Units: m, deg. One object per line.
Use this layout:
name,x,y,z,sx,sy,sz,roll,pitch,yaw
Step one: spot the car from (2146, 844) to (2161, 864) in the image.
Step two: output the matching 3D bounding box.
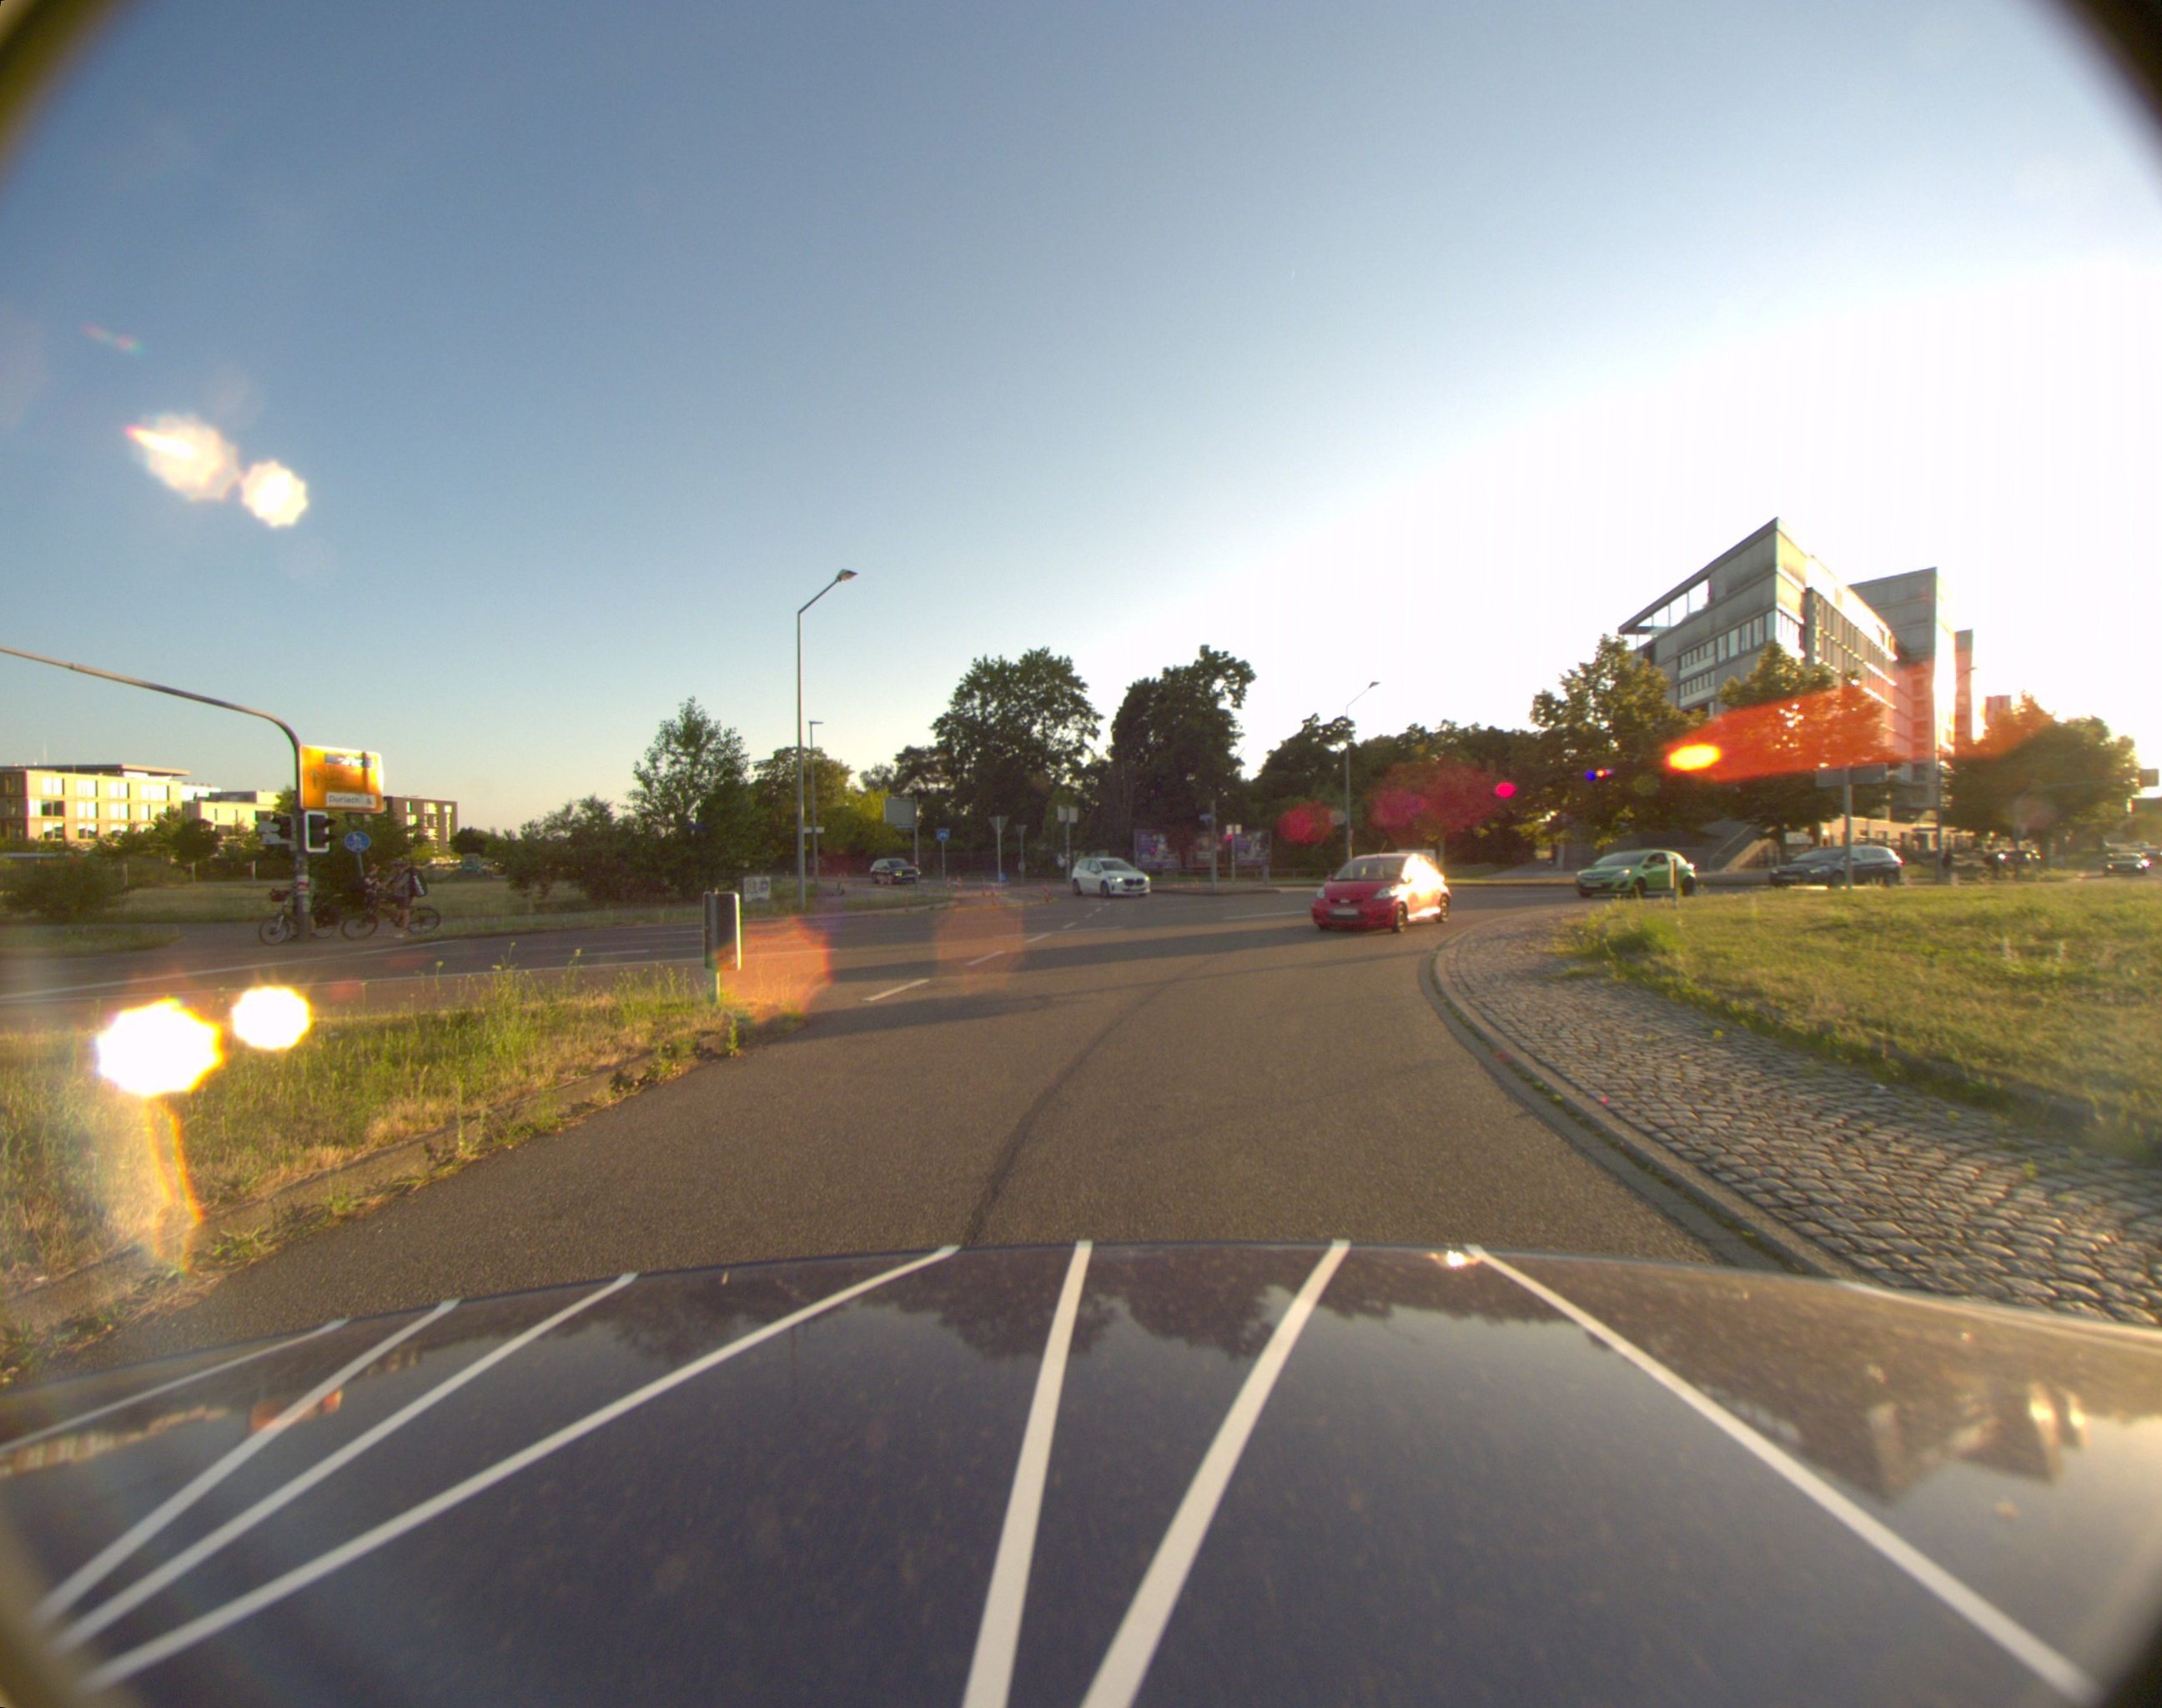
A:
car,99.844,0.004,69.869,5.316,1.801,1.995,0,-2,-37

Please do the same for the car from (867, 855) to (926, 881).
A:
car,-12.128,0.872,49.739,2.004,1.588,4.302,-1,1,-40

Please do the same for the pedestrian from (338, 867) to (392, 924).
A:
pedestrian,-20.997,1.189,22.302,0.993,1.581,0.924,-1,1,-35

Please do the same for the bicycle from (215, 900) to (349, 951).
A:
bicycle,-19.276,1.696,18.410,0.708,0.958,2.109,-1,2,14

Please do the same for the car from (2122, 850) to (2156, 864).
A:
car,120.062,0.310,86.267,4.008,1.444,1.994,-1,1,-39

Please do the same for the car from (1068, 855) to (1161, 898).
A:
car,1.286,0.845,30.931,2.003,1.597,4.189,-1,0,-26

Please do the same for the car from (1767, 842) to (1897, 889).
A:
car,27.360,0.379,27.674,4.334,1.568,1.731,-1,1,-21

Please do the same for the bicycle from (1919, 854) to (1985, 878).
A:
bicycle,47.116,0.637,41.148,0.744,1.237,2.341,-2,1,-41

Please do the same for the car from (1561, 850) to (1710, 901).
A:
car,16.994,0.619,23.303,4.003,1.412,1.687,-1,1,-18

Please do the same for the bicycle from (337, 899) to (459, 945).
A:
bicycle,-17.165,1.678,19.170,0.708,0.957,2.149,-1,0,26

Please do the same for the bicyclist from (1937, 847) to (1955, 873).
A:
bicyclist,46.974,0.318,41.265,0.693,1.432,0.610,-2,1,-42

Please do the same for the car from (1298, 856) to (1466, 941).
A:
car,6.145,0.793,15.292,1.685,1.412,4.008,-1,1,45

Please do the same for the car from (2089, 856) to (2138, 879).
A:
car,68.945,0.876,50.711,4.133,1.371,1.747,-1,1,-34

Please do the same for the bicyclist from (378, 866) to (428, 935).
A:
bicyclist,-17.149,1.163,19.230,0.723,1.680,0.690,-1,1,28

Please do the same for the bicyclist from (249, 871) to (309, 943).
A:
bicyclist,-19.334,1.255,18.323,0.724,1.680,0.690,-1,1,12
